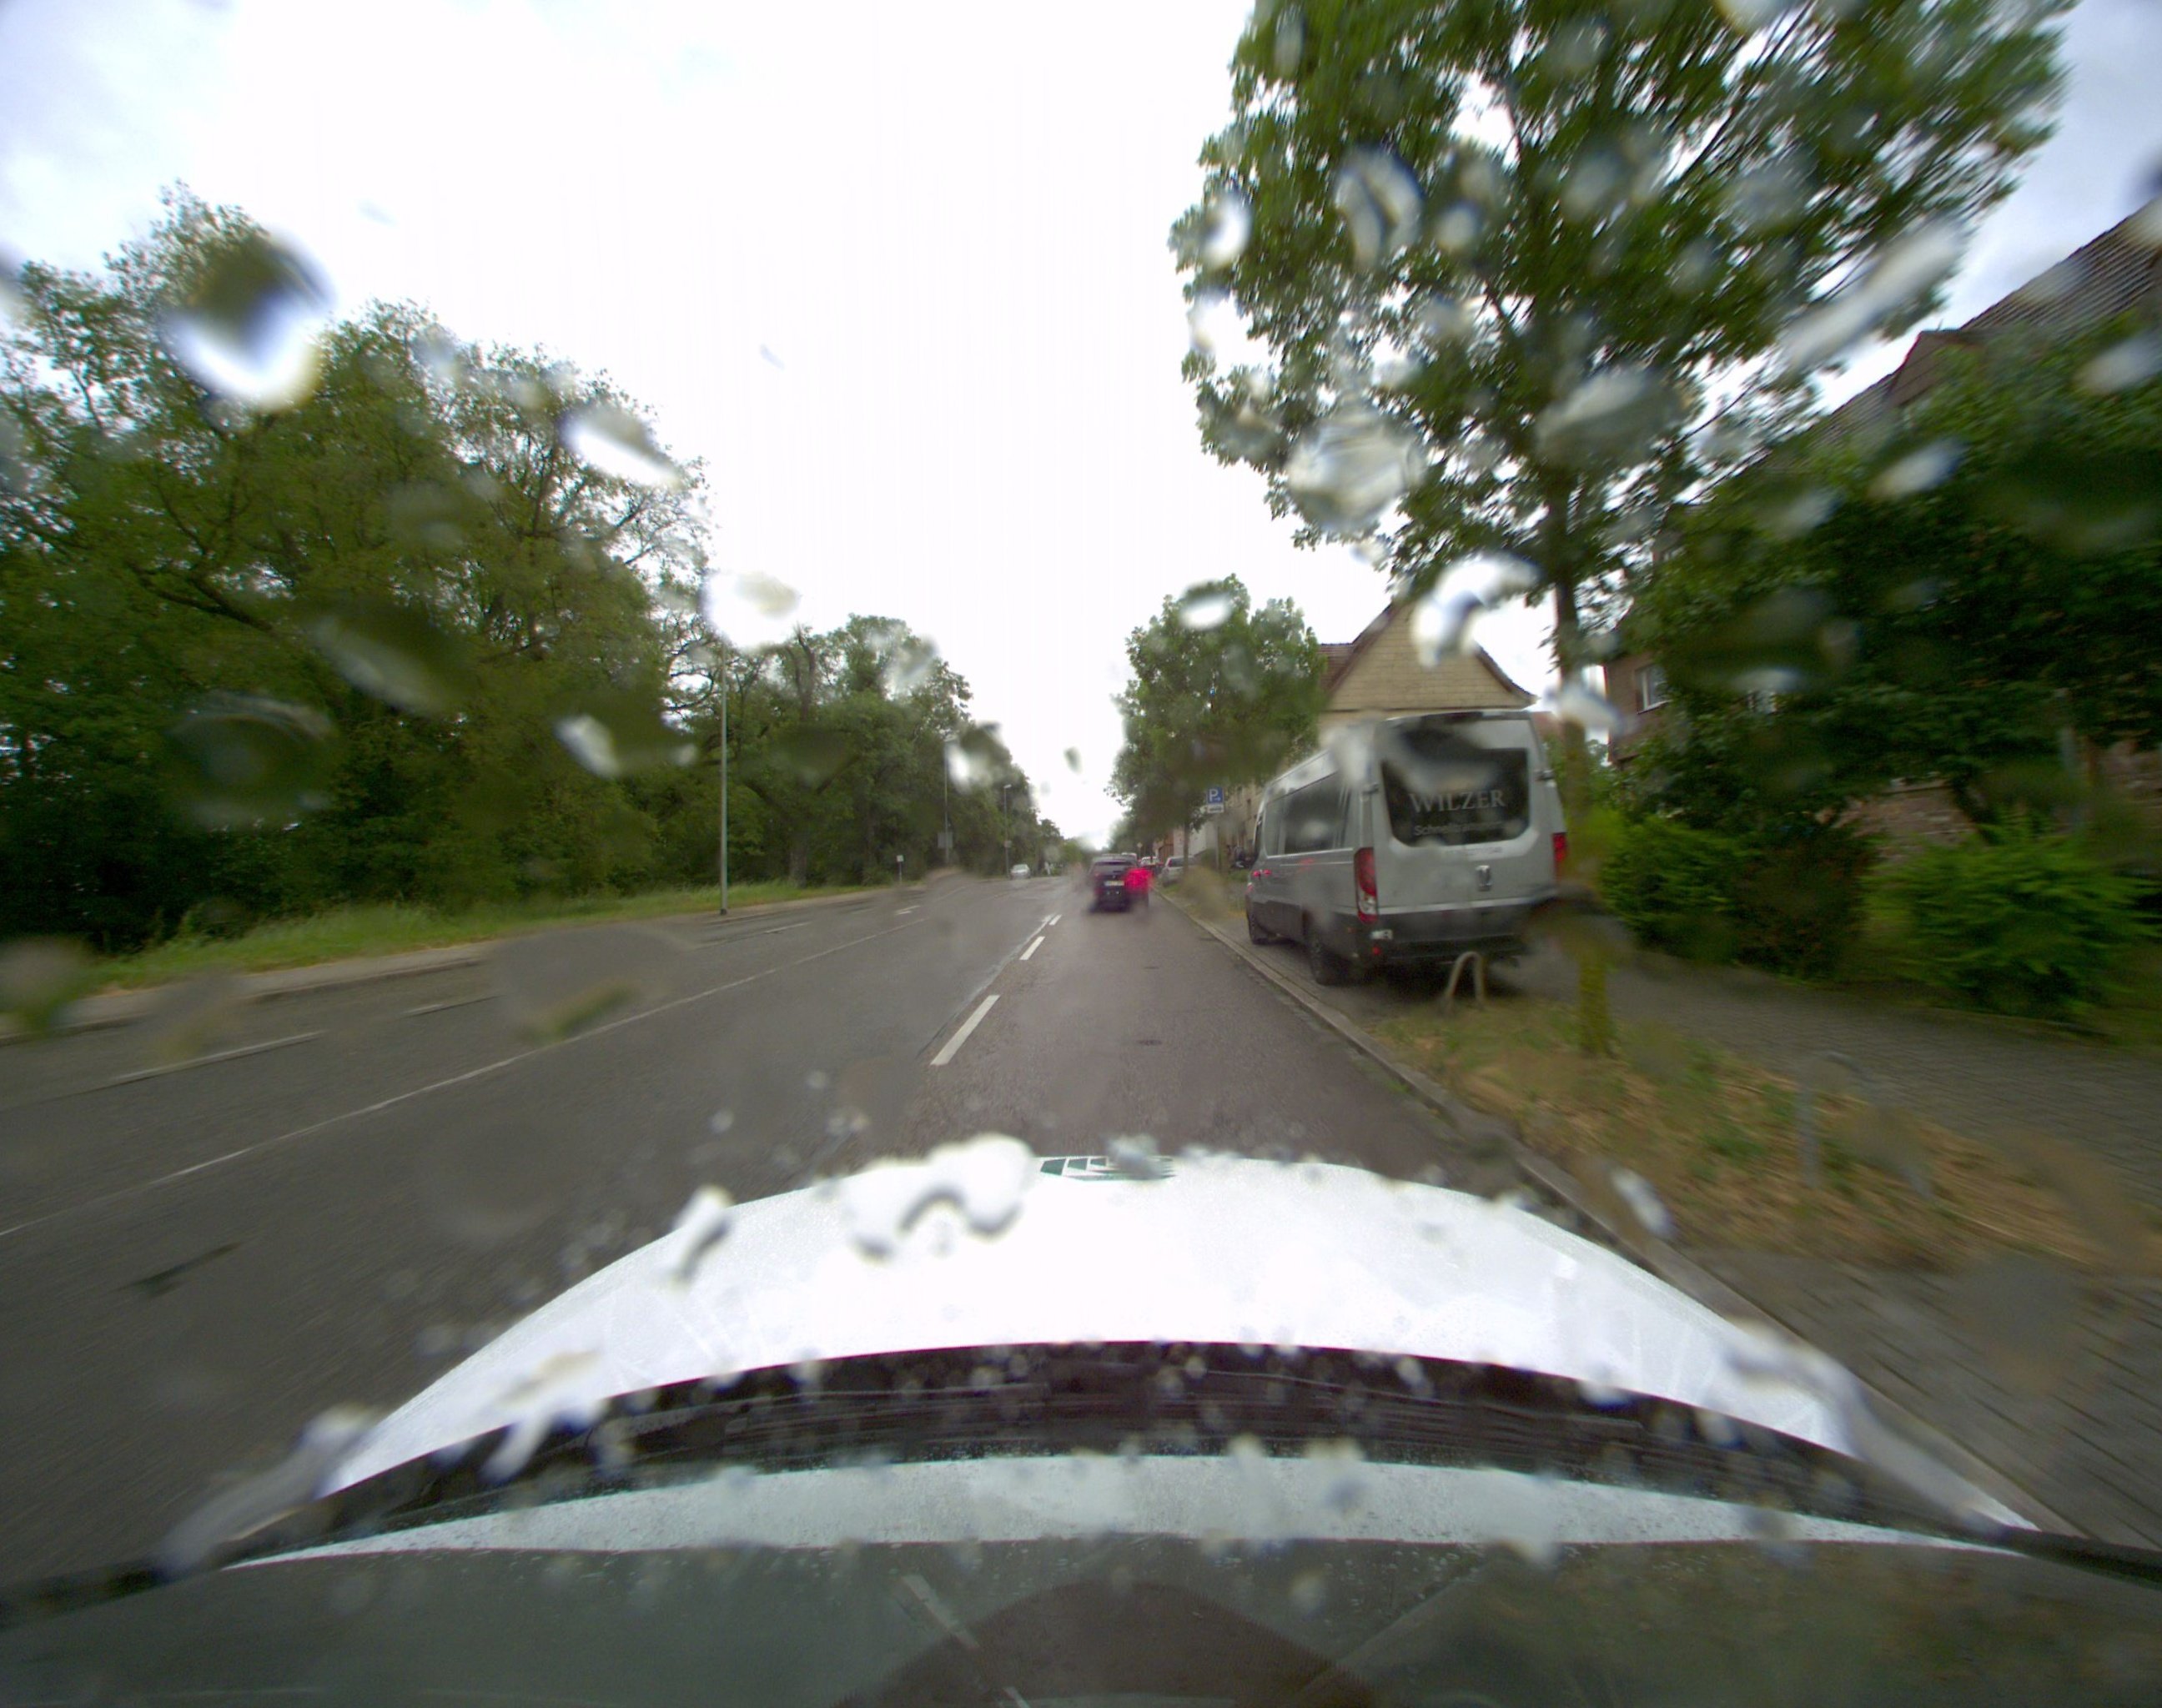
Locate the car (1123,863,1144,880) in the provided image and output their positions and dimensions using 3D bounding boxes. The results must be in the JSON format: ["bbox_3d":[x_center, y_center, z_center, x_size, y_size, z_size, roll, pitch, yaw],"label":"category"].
[{"bbox_3d":[6.573,2.147,101.267,1.915,1.892,4.775,-5,-2,11],"label":"car"}]

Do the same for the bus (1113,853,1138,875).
[{"bbox_3d":[6.248,1.361,112.896,2.608,2.847,8.306,-3,-1,8],"label":"bus"}]

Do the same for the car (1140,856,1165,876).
[{"bbox_3d":[5.640,0.954,64.404,1.636,1.449,3.998,-2,-1,1],"label":"car"}]

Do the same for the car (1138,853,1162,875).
[{"bbox_3d":[5.902,0.819,70.251,1.816,1.772,4.544,-3,-1,3],"label":"car"}]

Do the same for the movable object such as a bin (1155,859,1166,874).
[{"bbox_3d":[5.798,0.932,59.580,0.617,1.050,0.822,-4,-1,-1],"label":"movable object such as a bin"}]

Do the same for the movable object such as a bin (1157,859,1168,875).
[{"bbox_3d":[5.880,0.933,58.654,0.617,1.050,0.822,-4,-1,-1],"label":"movable object such as a bin"}]

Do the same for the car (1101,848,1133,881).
[{"bbox_3d":[2.358,0.689,53.399,1.986,2.014,4.002,-1,-1,2],"label":"car"}]

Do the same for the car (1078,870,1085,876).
[{"bbox_3d":[0.212,5.189,226.415,1.763,1.533,4.002,-3,-1,2],"label":"car"}]

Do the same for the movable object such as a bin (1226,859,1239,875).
[{"bbox_3d":[9.246,0.767,49.746,0.697,0.965,0.942,0,0,2],"label":"movable object such as a bin"}]

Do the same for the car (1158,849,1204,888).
[{"bbox_3d":[4.682,0.637,38.699,1.695,1.584,4.646,-5,0,3],"label":"car"}]

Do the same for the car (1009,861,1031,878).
[{"bbox_3d":[-5.948,1.508,79.995,1.684,1.483,4.451,-4,-1,0],"label":"car"}]

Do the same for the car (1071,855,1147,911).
[{"bbox_3d":[0.810,0.778,23.542,1.986,1.453,4.001,1,-1,2],"label":"car"}]

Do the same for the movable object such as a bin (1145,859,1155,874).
[{"bbox_3d":[5.062,0.938,59.593,0.617,1.050,0.822,-4,-1,-1],"label":"movable object such as a bin"}]

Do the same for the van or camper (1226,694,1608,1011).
[{"bbox_3d":[3.590,-0.027,10.795,2.189,2.651,7.306,-4,0,3],"label":"van or camper"}]

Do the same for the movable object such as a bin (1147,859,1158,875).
[{"bbox_3d":[5.152,0.939,58.691,0.617,1.050,0.822,-4,-1,-1],"label":"movable object such as a bin"}]
